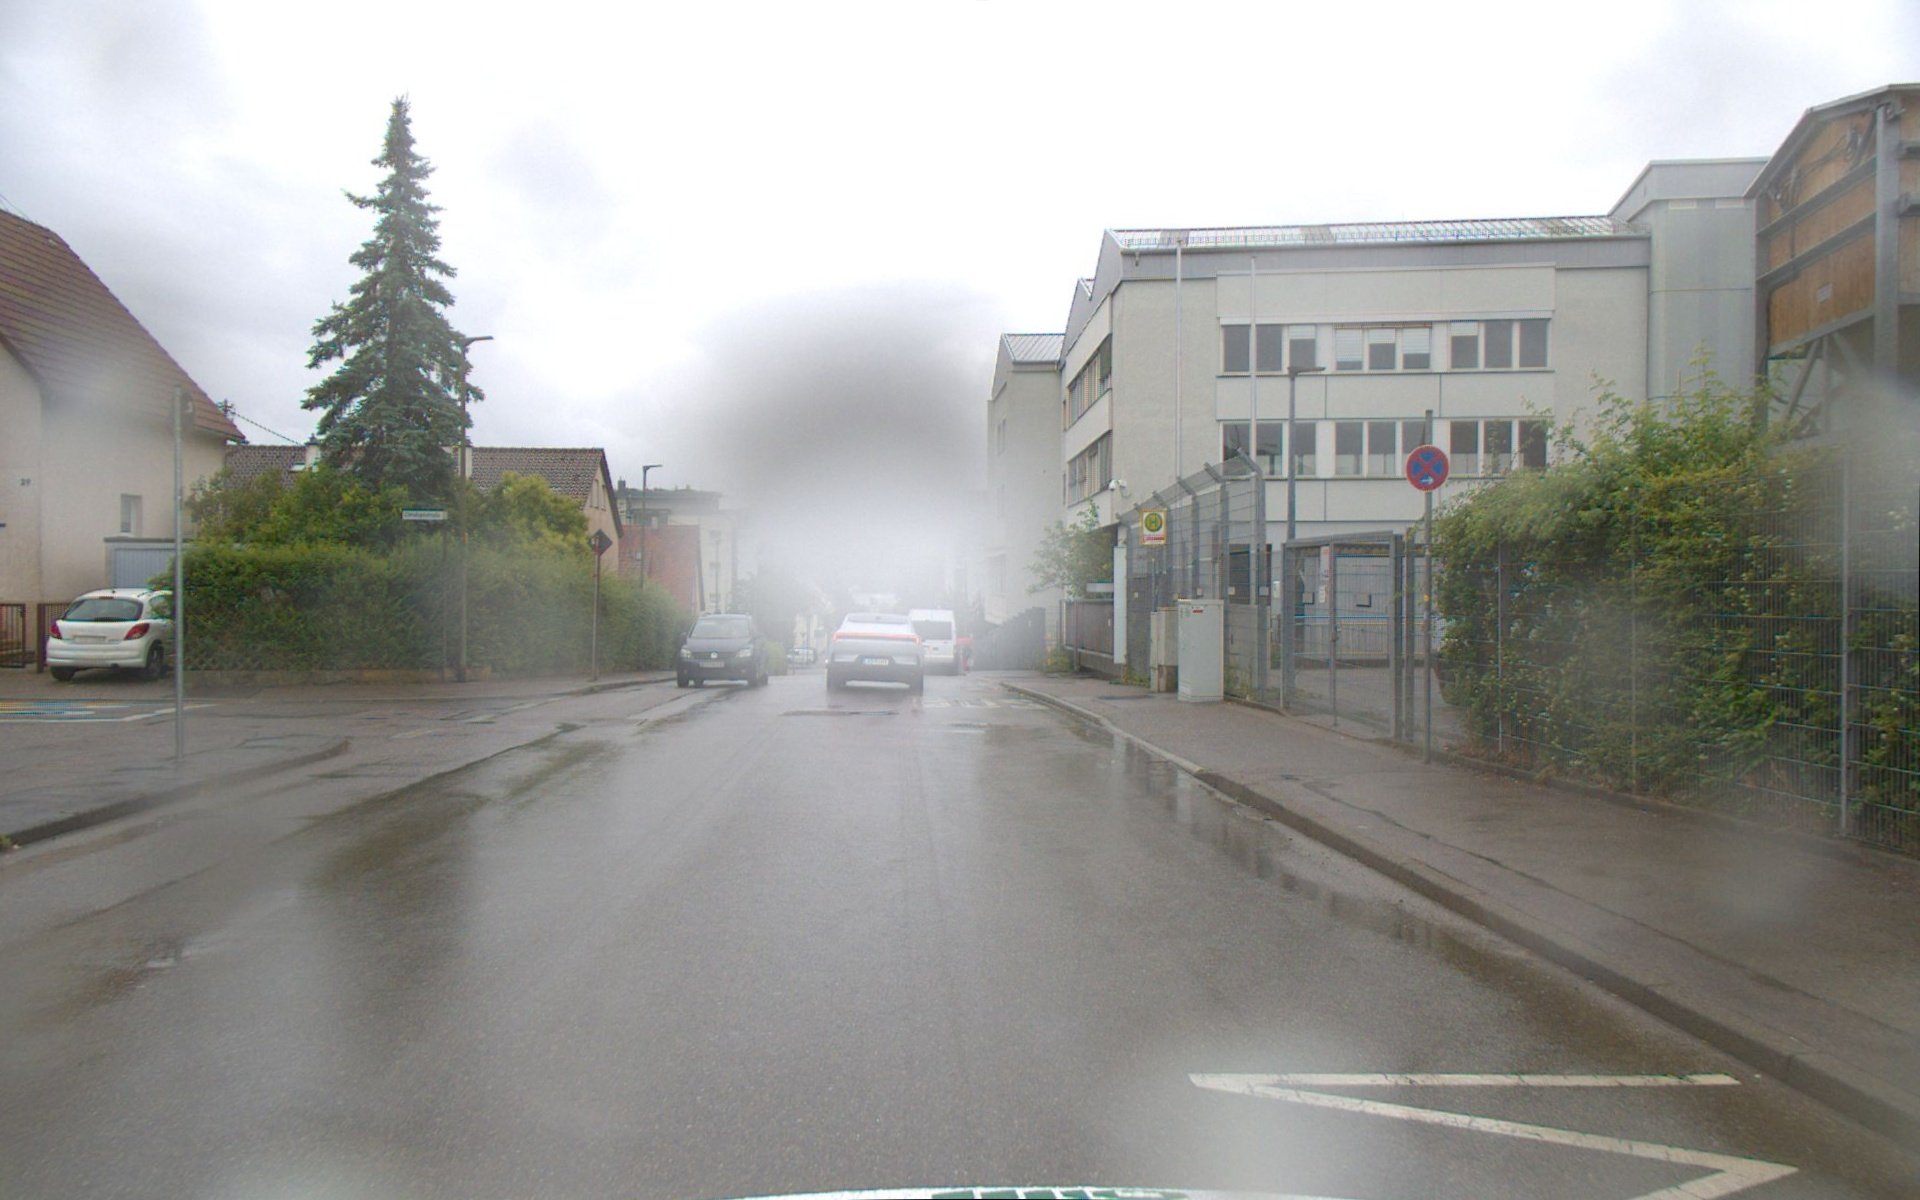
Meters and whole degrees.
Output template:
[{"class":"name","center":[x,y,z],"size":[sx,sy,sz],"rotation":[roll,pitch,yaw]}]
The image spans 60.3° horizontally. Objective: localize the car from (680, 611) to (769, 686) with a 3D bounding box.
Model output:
[{"class":"car","center":[-5.169,1.027,36.707],"size":[1.642,1.554,3.997],"rotation":[0,0,-4]}]

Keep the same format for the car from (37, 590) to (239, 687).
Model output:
[{"class":"car","center":[-14.599,0.631,29.623],"size":[1.758,1.534,3.998],"rotation":[0,1,-3]}]

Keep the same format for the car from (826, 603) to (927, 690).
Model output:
[{"class":"car","center":[-1.697,0.908,34.421],"size":[1.953,1.528,4.669],"rotation":[0,2,-2]}]

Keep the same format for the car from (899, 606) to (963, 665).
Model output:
[{"class":"car","center":[-1.104,1.310,60.032],"size":[1.955,2.049,3.994],"rotation":[-1,-2,-6]}]

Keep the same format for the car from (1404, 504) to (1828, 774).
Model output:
[{"class":"car","center":[7.596,0.341,20.037],"size":[1.957,2.731,5.939],"rotation":[-2,1,-10]}]
